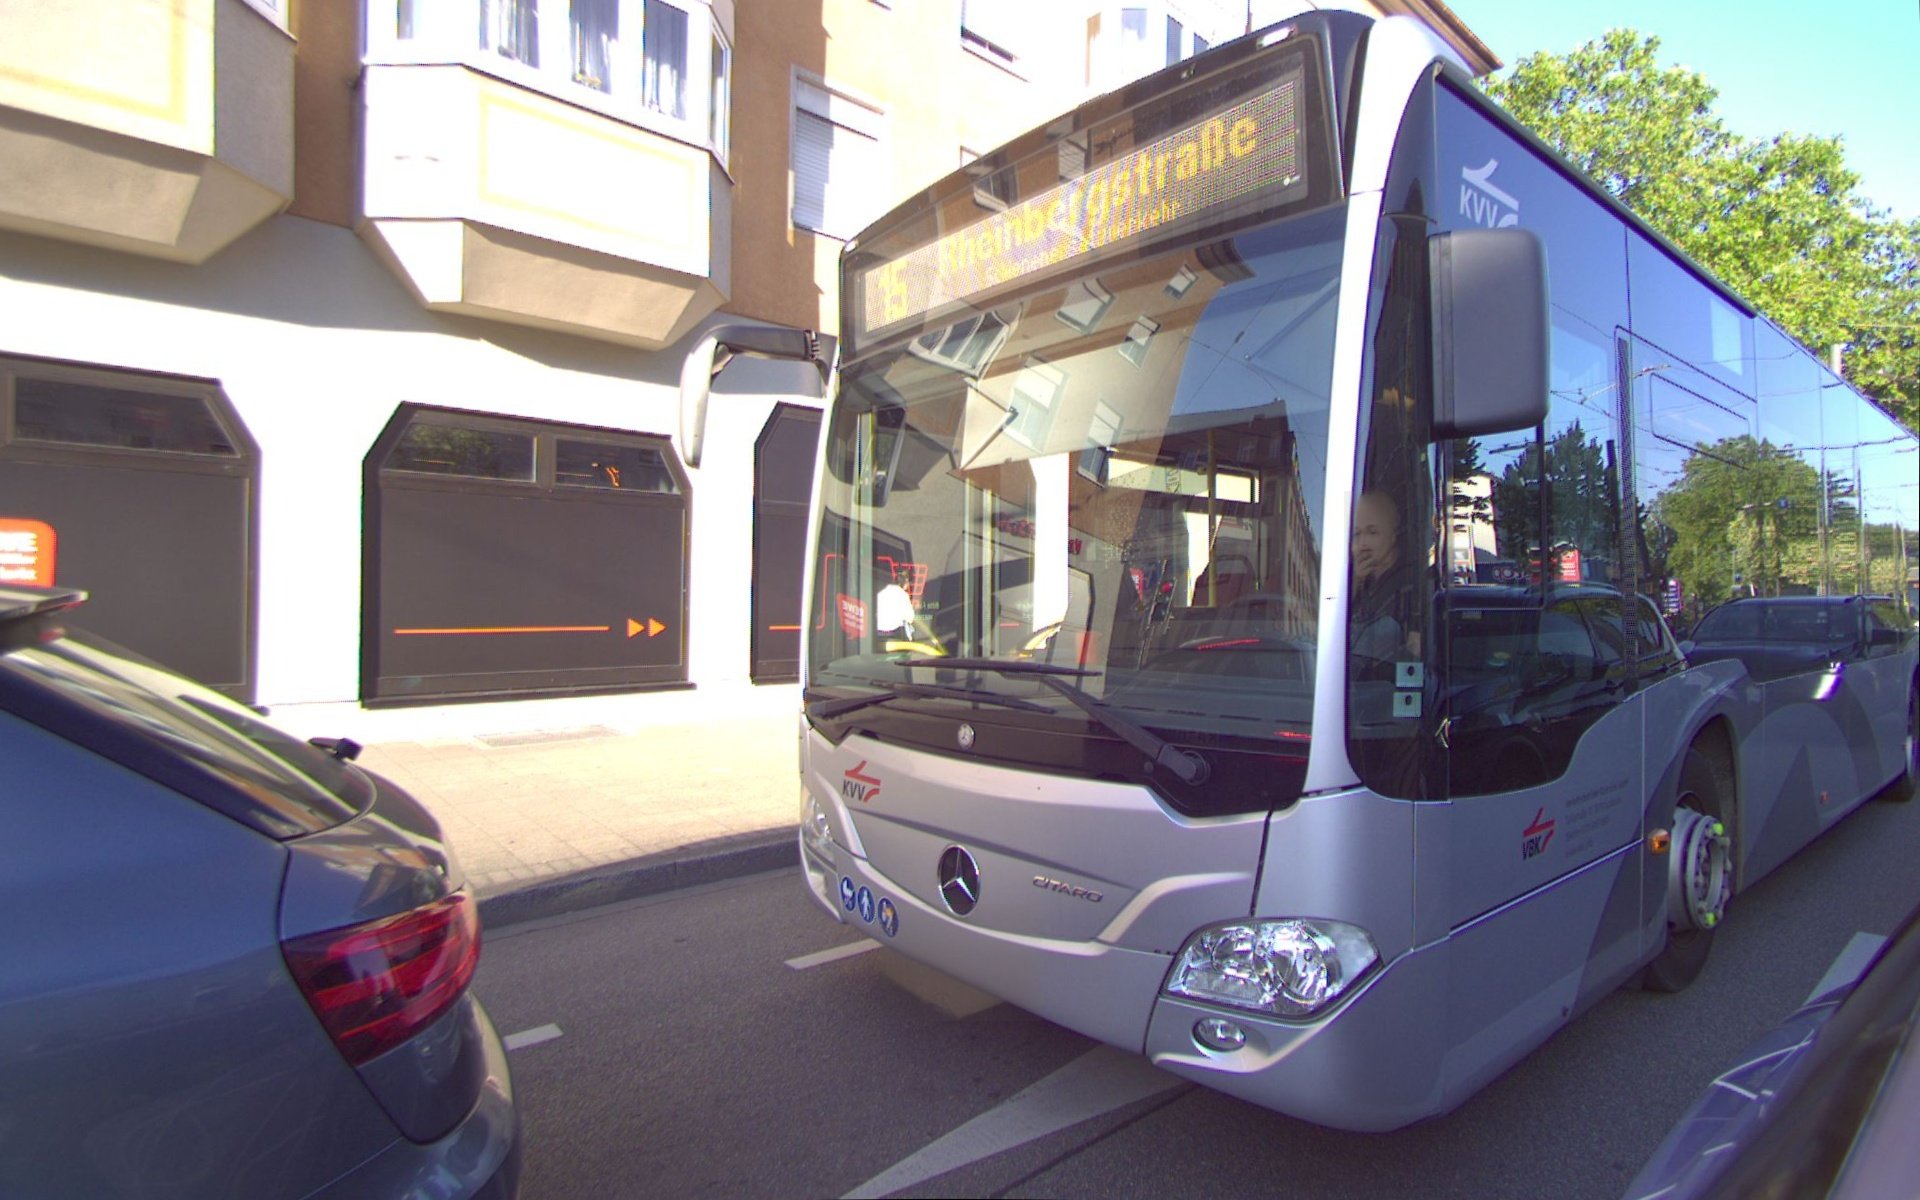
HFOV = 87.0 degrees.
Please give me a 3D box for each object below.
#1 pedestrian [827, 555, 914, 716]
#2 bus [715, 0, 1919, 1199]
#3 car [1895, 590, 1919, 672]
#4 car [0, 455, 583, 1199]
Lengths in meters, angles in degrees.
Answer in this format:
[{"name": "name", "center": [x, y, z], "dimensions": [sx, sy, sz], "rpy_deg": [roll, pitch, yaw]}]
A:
[{"name": "pedestrian", "center": [-0.933, 0.345, 10.519], "dimensions": [0.656, 1.603, 0.580], "rpy_deg": [0, 1, -38]}, {"name": "bus", "center": [6.489, -0.202, 8.694], "dimensions": [17.432, 3.189, 2.771], "rpy_deg": [0, 1, -41]}, {"name": "car", "center": [20.949, 0.606, 21.164], "dimensions": [3.759, 1.628, 1.747], "rpy_deg": [-1, 0, -43]}, {"name": "car", "center": [-2.607, 0.653, 0.611], "dimensions": [4.151, 1.572, 1.700], "rpy_deg": [0, -1, -41]}]
